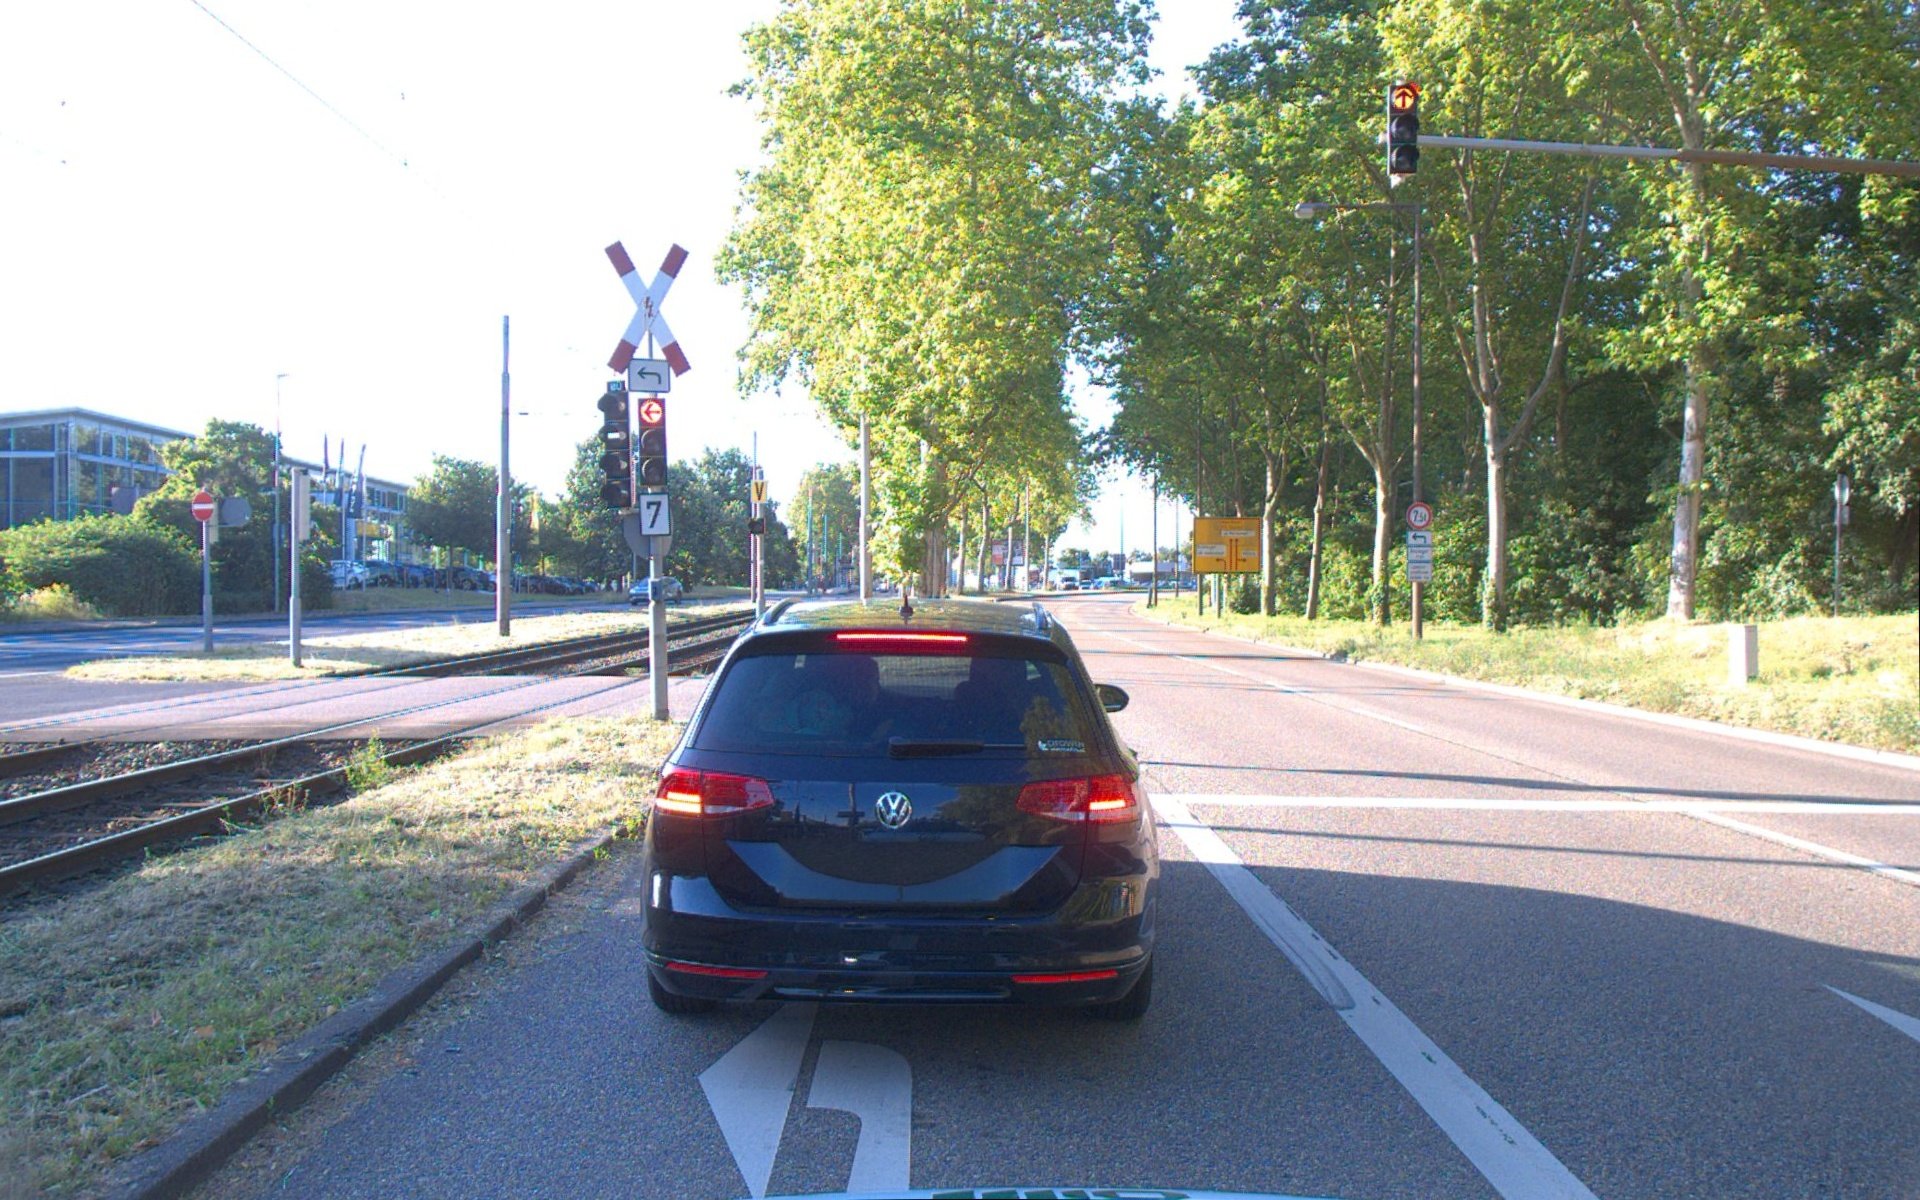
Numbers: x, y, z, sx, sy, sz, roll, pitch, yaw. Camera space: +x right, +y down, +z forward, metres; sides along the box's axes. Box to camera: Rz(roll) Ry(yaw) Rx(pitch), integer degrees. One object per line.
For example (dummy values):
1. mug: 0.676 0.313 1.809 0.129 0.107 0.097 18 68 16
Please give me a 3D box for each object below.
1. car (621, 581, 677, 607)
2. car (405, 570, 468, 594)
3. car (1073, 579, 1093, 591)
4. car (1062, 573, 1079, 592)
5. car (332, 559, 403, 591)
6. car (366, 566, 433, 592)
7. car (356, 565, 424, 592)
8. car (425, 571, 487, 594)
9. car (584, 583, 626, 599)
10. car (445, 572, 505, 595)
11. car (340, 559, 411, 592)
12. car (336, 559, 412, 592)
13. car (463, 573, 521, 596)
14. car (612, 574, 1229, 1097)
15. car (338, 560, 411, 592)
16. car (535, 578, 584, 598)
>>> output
1. car: -18.887 -0.403 100.686 1.822 1.507 4.175 1 1 13
2. car: -36.040 -1.254 113.985 3.913 1.583 1.740 1 0 -9
3. car: 15.018 -1.832 201.915 1.825 1.507 4.089 1 0 -3
4. car: 15.509 -2.462 232.814 2.052 2.504 5.853 1 1 0
5. car: -35.550 -1.491 99.201 3.930 1.848 1.732 1 0 -22
6. car: -35.544 -1.312 104.895 3.930 1.583 1.732 1 0 -22
7. car: -35.203 -1.329 102.117 3.930 1.583 1.732 1 0 -22
8. car: -35.779 -1.226 117.509 3.911 1.583 1.741 1 0 -7
9. car: -35.962 -0.901 167.622 3.909 1.583 1.742 1 0 -5
10. car: -35.571 -1.222 121.440 3.909 1.649 1.742 1 0 -6
11. car: -34.443 -1.453 97.463 3.930 1.848 1.732 1 0 -22
12. car: -32.912 -1.365 92.899 3.930 1.734 1.732 1 0 -22
13. car: -35.241 -1.191 124.656 3.909 1.649 1.742 1 0 -6
14. car: -0.146 0.675 6.577 1.758 1.490 3.582 1 0 -1
15. car: -33.695 -1.382 95.138 3.930 1.734 1.732 1 0 -22
16. car: -35.219 -1.053 145.560 3.909 1.649 1.742 1 0 -6
